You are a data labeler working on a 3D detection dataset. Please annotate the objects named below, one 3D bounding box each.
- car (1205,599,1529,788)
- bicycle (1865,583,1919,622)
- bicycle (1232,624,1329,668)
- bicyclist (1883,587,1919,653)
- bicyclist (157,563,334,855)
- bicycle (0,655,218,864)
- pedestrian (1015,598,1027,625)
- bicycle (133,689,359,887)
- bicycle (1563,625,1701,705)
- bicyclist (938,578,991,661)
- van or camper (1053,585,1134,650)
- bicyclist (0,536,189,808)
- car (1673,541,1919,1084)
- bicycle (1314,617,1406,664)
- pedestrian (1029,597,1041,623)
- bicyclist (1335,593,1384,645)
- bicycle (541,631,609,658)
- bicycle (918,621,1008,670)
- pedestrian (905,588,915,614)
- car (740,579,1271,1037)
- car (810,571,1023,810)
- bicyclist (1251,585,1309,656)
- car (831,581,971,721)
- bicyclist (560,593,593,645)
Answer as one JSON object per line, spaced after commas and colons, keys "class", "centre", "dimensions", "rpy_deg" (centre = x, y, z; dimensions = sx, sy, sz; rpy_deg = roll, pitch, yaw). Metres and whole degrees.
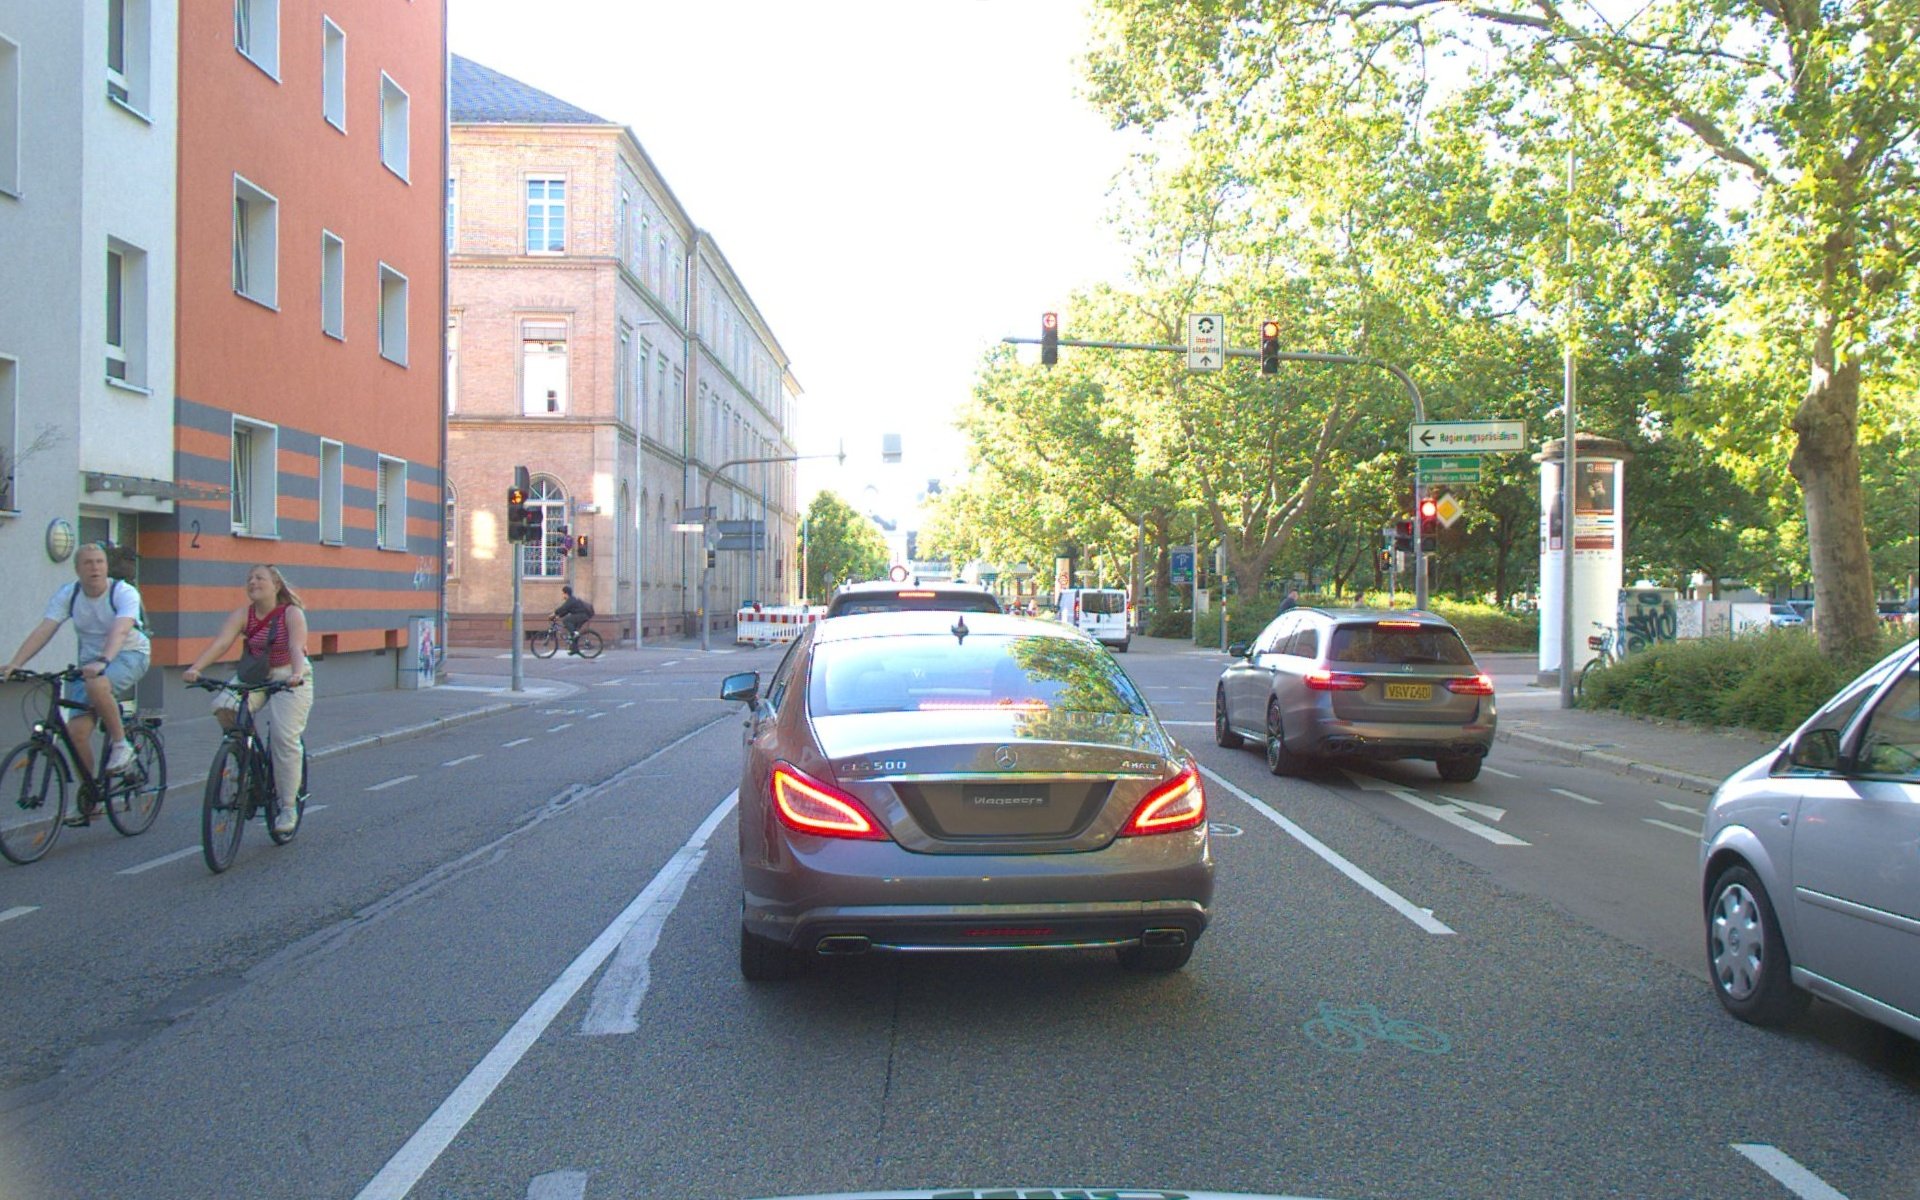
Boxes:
{"class": "car", "centre": [3.676, 0.768, 15.854], "dimensions": [1.874, 1.490, 4.668], "rpy_deg": [1, 0, -1]}
{"class": "bicycle", "centre": [22.546, 0.064, 39.137], "dimensions": [1.853, 0.898, 0.726], "rpy_deg": [1, 0, 3]}
{"class": "bicycle", "centre": [6.943, 0.997, 35.858], "dimensions": [1.946, 0.919, 0.733], "rpy_deg": [0, 0, -2]}
{"class": "bicyclist", "centre": [22.565, 0.478, 39.129], "dimensions": [1.052, 1.546, 0.717], "rpy_deg": [0, 0, 4]}
{"class": "bicyclist", "centre": [-4.119, 0.597, 9.597], "dimensions": [0.672, 1.605, 0.980], "rpy_deg": [0, 0, -7]}
{"class": "bicycle", "centre": [-5.289, 0.925, 10.208], "dimensions": [0.847, 1.097, 1.832], "rpy_deg": [0, 0, -10]}
{"class": "pedestrian", "centre": [3.493, 0.661, 94.874], "dimensions": [0.635, 1.529, 0.637], "rpy_deg": [0, 0, -1]}
{"class": "bicycle", "centre": [-4.144, 1.049, 9.752], "dimensions": [0.680, 0.945, 1.861], "rpy_deg": [0, 0, -6]}
{"class": "bicycle", "centre": [9.644, 0.928, 23.765], "dimensions": [1.766, 1.116, 0.510], "rpy_deg": [0, 0, 2]}
{"class": "bicyclist", "centre": [0.093, 0.393, 33.898], "dimensions": [0.995, 1.671, 0.607], "rpy_deg": [1, 0, -7]}
{"class": "van or camper", "centre": [4.206, 0.524, 52.833], "dimensions": [1.954, 1.975, 4.591], "rpy_deg": [0, 0, -3]}
{"class": "bicyclist", "centre": [-5.281, 0.421, 10.108], "dimensions": [0.827, 1.582, 0.837], "rpy_deg": [0, 0, -11]}
{"class": "car", "centre": [3.719, 0.644, 4.837], "dimensions": [1.666, 1.631, 3.860], "rpy_deg": [0, 0, 1]}
{"class": "bicycle", "centre": [9.072, 0.919, 37.527], "dimensions": [1.939, 1.045, 0.652], "rpy_deg": [0, 0, 0]}
{"class": "pedestrian", "centre": [4.313, 0.559, 94.879], "dimensions": [0.635, 1.458, 0.659], "rpy_deg": [0, 0, -1]}
{"class": "bicyclist", "centre": [9.066, 0.431, 37.522], "dimensions": [0.971, 1.174, 0.620], "rpy_deg": [0, 0, 1]}
{"class": "bicycle", "centre": [-9.485, 1.104, 40.768], "dimensions": [1.554, 0.646, 0.496], "rpy_deg": [0, 0, 3]}
{"class": "bicycle", "centre": [0.055, 0.934, 33.886], "dimensions": [1.760, 0.963, 0.613], "rpy_deg": [1, 0, -7]}
{"class": "pedestrian", "centre": [-3.664, 0.086, 121.858], "dimensions": [0.706, 1.935, 0.704], "rpy_deg": [1, 0, -1]}
{"class": "car", "centre": [-0.113, 0.671, 7.642], "dimensions": [1.769, 1.482, 4.343], "rpy_deg": [0, 0, -8]}
{"class": "car", "centre": [-0.399, 0.635, 13.635], "dimensions": [1.487, 1.675, 3.878], "rpy_deg": [1, 0, -3]}
{"class": "bicyclist", "centre": [6.931, 0.449, 35.855], "dimensions": [1.094, 1.516, 0.711], "rpy_deg": [0, 0, -2]}
{"class": "car", "centre": [-0.781, 0.648, 23.219], "dimensions": [1.783, 1.793, 3.999], "rpy_deg": [0, 0, -1]}
{"class": "bicyclist", "centre": [-9.451, 0.463, 40.769], "dimensions": [0.689, 1.282, 0.458], "rpy_deg": [0, 0, 3]}
